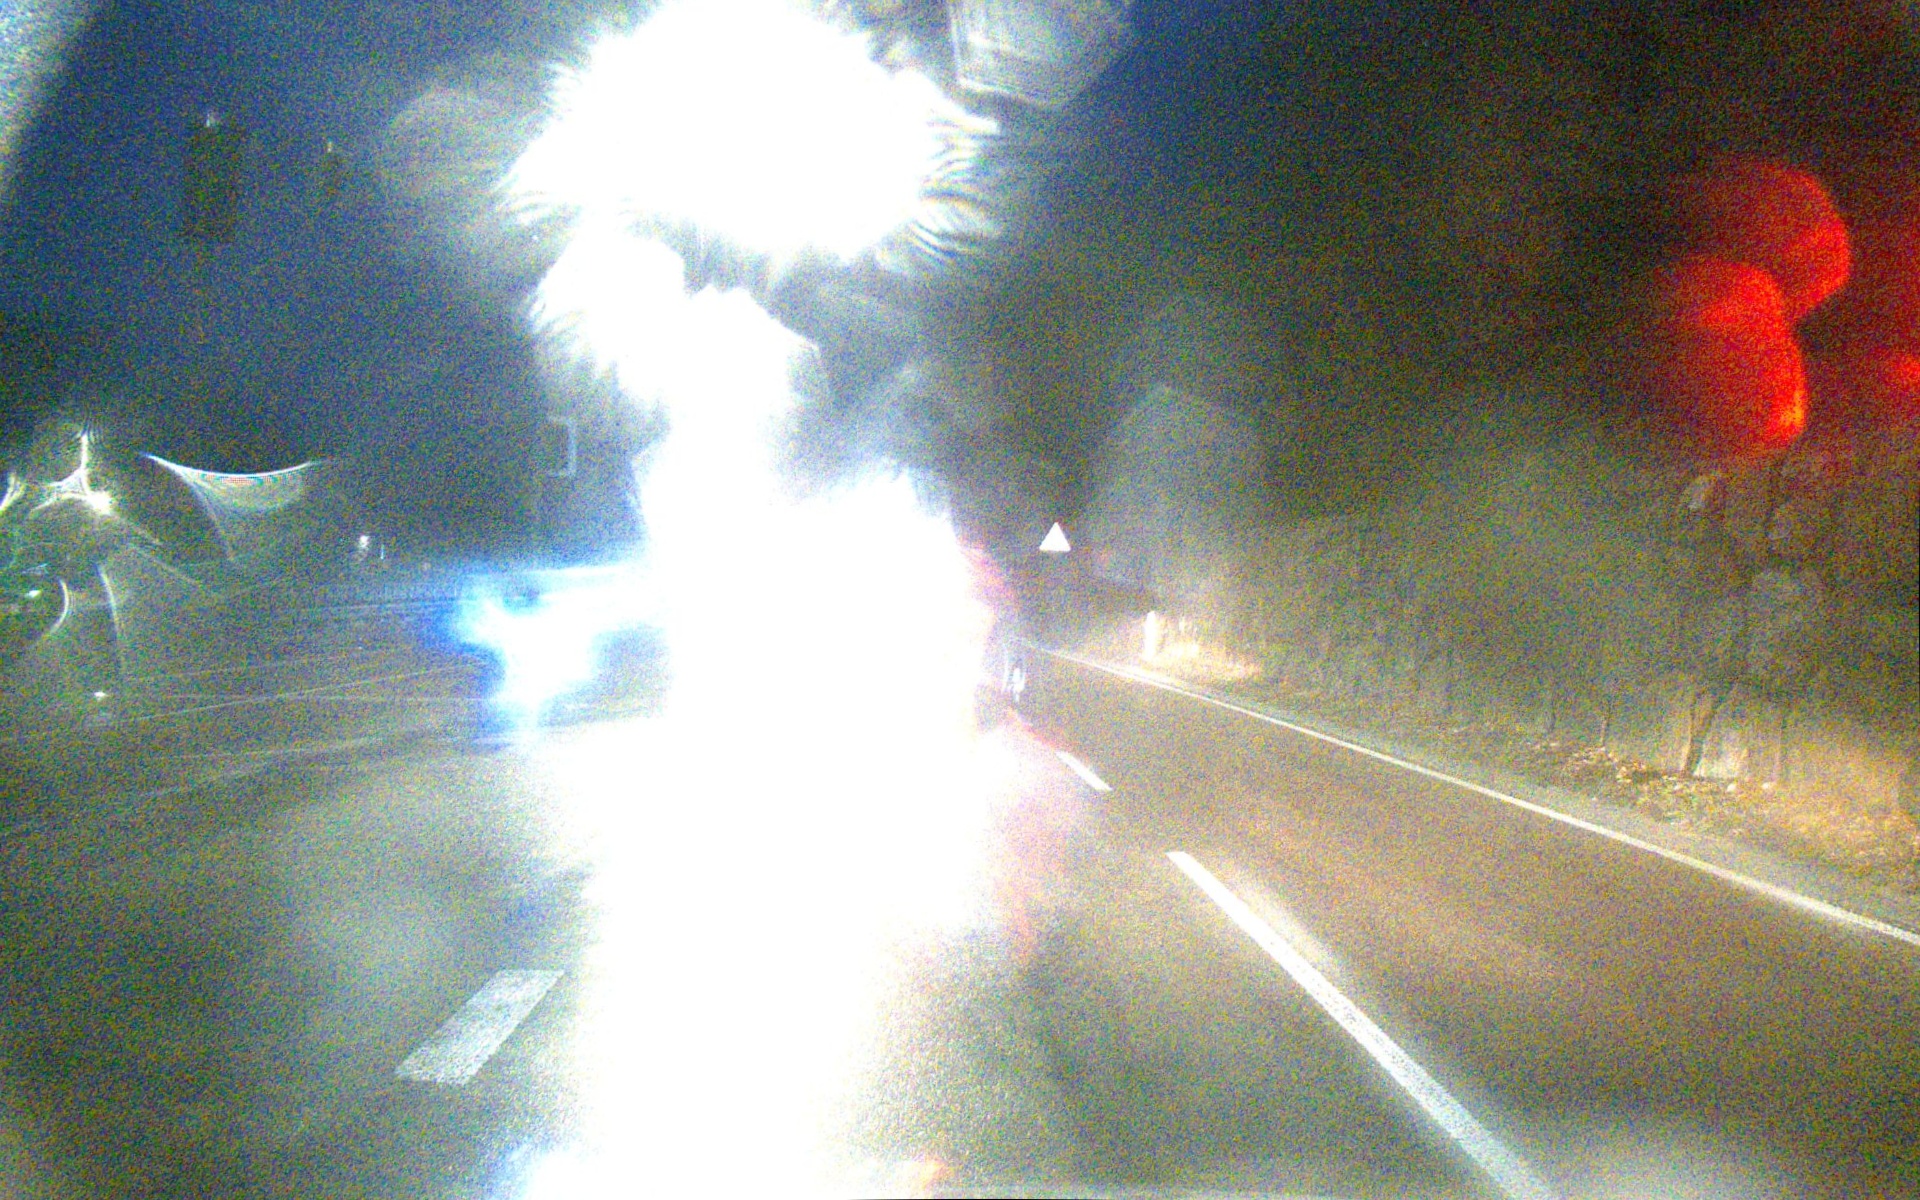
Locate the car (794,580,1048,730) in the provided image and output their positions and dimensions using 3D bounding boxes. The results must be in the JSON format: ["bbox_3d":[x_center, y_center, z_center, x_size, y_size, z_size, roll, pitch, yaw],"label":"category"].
[{"bbox_3d":[-0.331,0.544,19.617,1.480,1.544,4.375,1,1,20],"label":"car"}]
